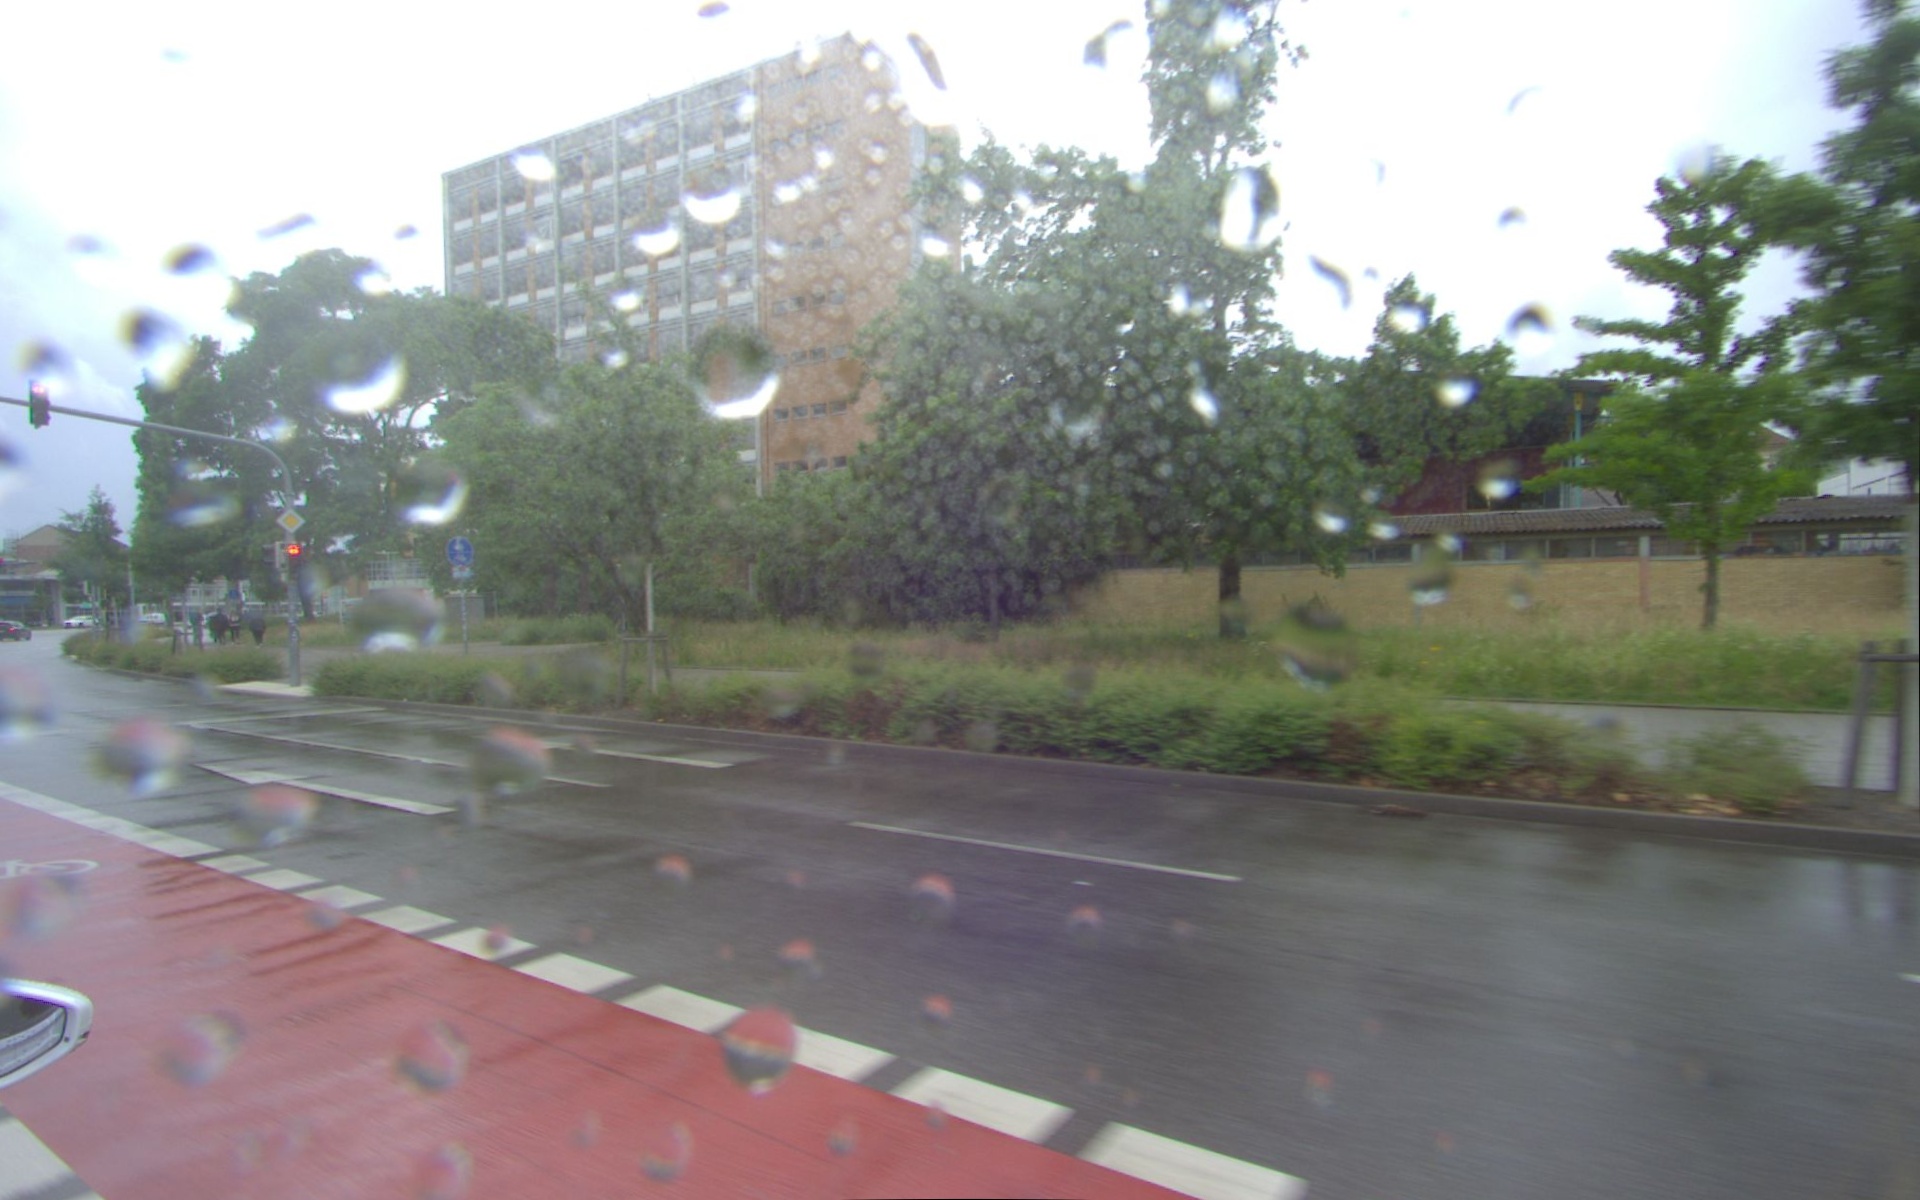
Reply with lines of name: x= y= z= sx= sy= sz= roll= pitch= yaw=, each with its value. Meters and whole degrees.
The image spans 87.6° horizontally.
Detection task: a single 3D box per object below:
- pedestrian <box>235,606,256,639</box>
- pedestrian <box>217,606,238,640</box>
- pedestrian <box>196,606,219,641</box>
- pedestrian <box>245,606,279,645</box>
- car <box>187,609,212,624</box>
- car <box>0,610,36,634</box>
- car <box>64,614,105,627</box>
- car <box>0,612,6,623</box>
pedestrian: x=-35.129 y=1.111 z=49.220 sx=0.698 sy=1.609 sz=0.927 roll=-1 pitch=1 yaw=-44
pedestrian: x=-35.560 y=1.116 z=48.588 sx=0.698 sy=1.609 sz=0.927 roll=-1 pitch=1 yaw=-44
pedestrian: x=-35.506 y=1.113 z=47.270 sx=0.749 sy=1.609 sz=0.927 roll=-1 pitch=1 yaw=-44
pedestrian: x=-29.684 y=1.083 z=42.584 sx=1.015 sy=1.609 sz=0.927 roll=-1 pitch=1 yaw=-44
car: x=-84.006 y=1.812 z=110.632 sx=1.771 sy=1.665 sz=4.134 roll=-1 pitch=0 yaw=-32
car: x=-69.867 y=1.600 z=73.823 sx=1.771 sy=1.665 sz=4.134 roll=-1 pitch=0 yaw=-32
car: x=-113.676 y=2.675 z=130.078 sx=1.761 sy=1.665 sz=4.394 roll=0 pitch=0 yaw=-7
car: x=-139.708 y=2.549 z=144.666 sx=1.770 sy=1.665 sz=4.137 roll=-1 pitch=0 yaw=-30
